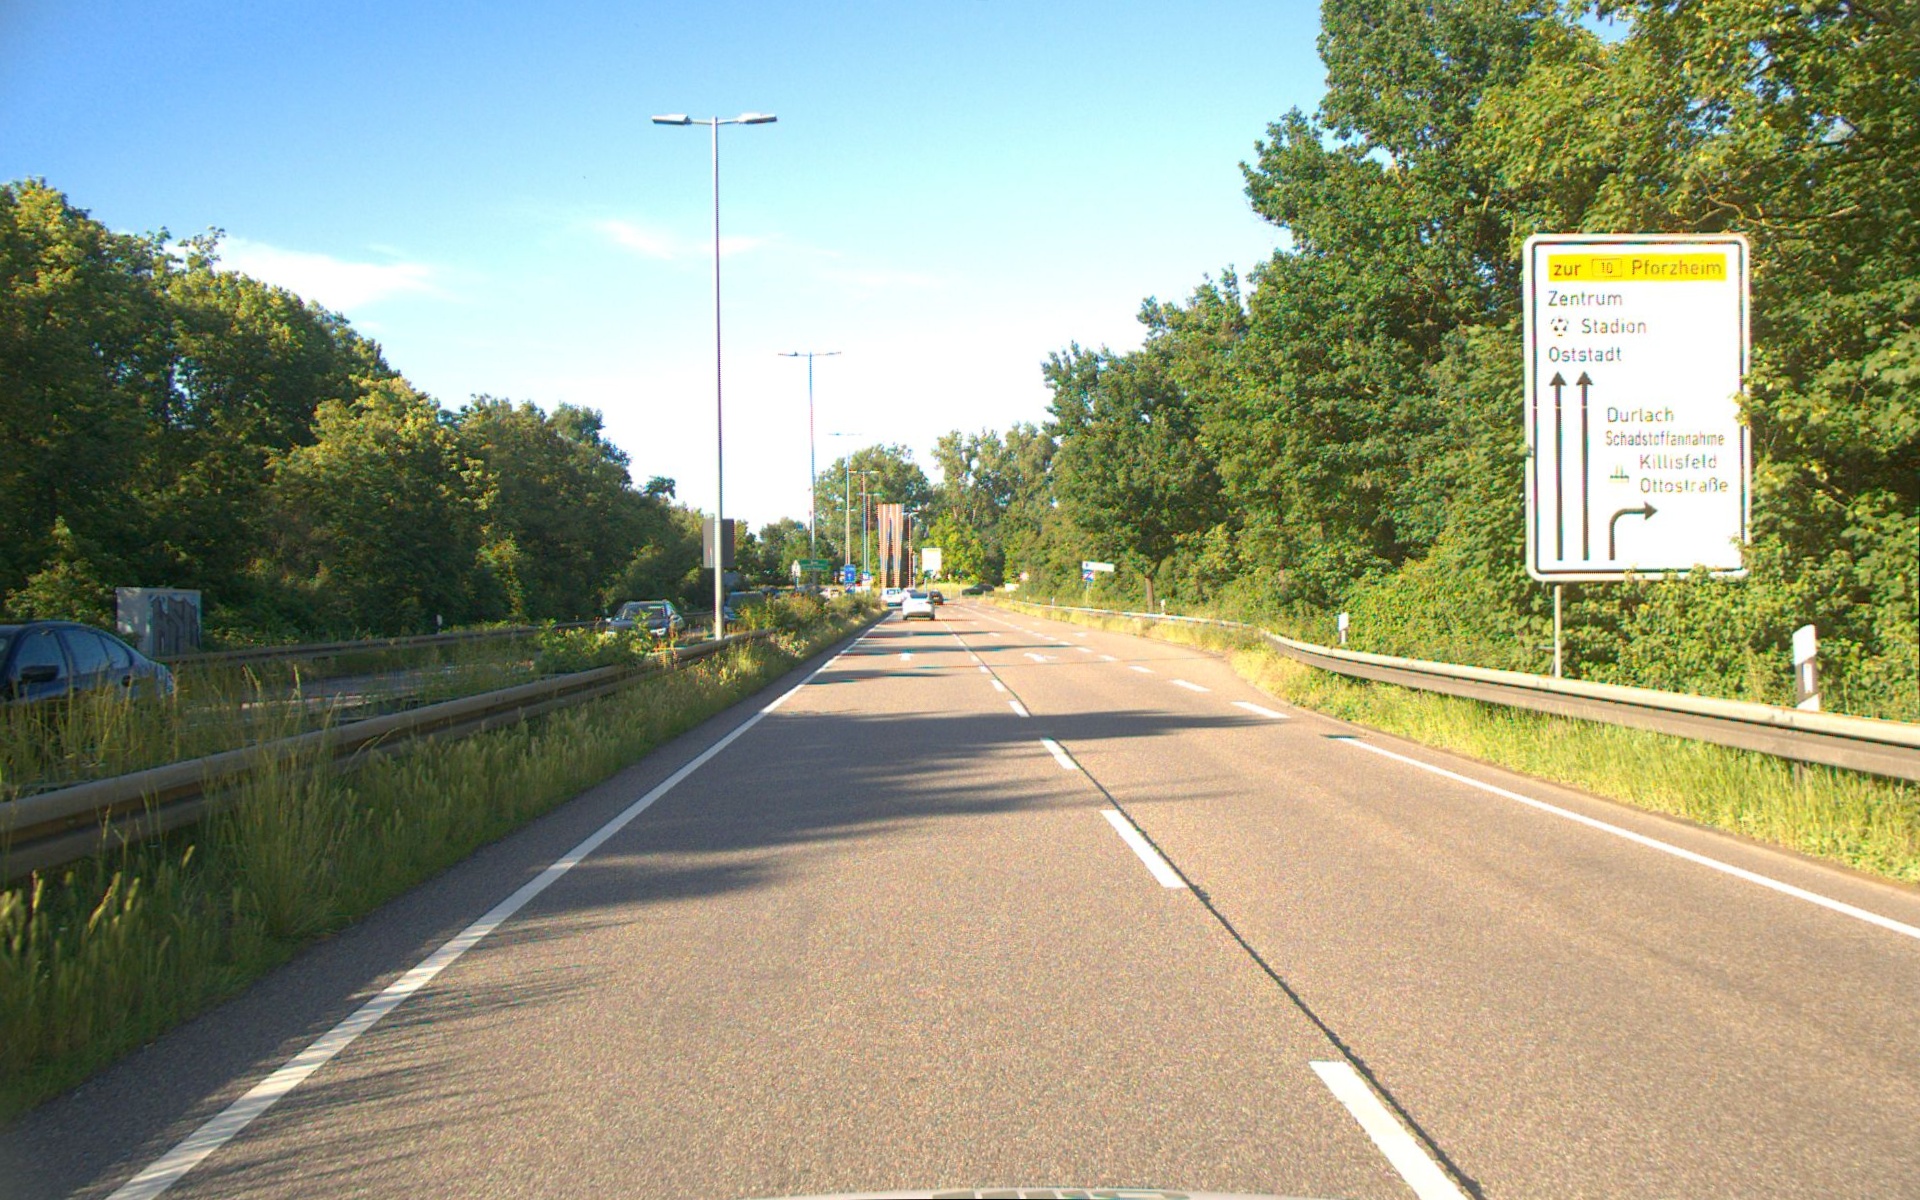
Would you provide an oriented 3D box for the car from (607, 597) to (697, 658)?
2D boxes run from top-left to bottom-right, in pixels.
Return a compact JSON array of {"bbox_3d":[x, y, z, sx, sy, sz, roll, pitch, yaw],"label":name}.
[{"bbox_3d":[-8.484,0.724,45.849,1.585,1.557,4.608,-1,0,0],"label":"car"}]

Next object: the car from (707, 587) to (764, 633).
[{"bbox_3d":[-9.289,0.397,68.825,1.804,1.788,4.710,-1,0,-2],"label":"car"}]

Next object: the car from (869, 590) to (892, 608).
[{"bbox_3d":[-9.370,-0.142,195.154,1.959,2.049,3.986,1,-1,-13],"label":"car"}]

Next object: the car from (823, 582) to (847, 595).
[{"bbox_3d":[-15.761,-1.413,207.788,2.229,1.534,3.983,-1,0,-16],"label":"car"}]

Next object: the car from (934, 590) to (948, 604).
[{"bbox_3d":[-1.966,-0.306,170.667,1.360,1.303,2.986,2,-1,-2],"label":"car"}]

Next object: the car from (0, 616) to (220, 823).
[{"bbox_3d":[-7.746,0.895,13.034,1.744,1.427,4.552,-1,0,0],"label":"car"}]

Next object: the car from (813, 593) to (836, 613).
[{"bbox_3d":[-11.883,0.255,145.741,1.749,1.740,4.545,-1,0,-2],"label":"car"}]

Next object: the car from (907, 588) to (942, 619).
[{"bbox_3d":[-2.119,0.197,97.435,1.953,1.668,4.127,-1,1,-2],"label":"car"}]

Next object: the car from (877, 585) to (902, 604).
[{"bbox_3d":[-7.416,-0.619,173.834,1.959,1.912,4.237,-2,1,-12],"label":"car"}]
